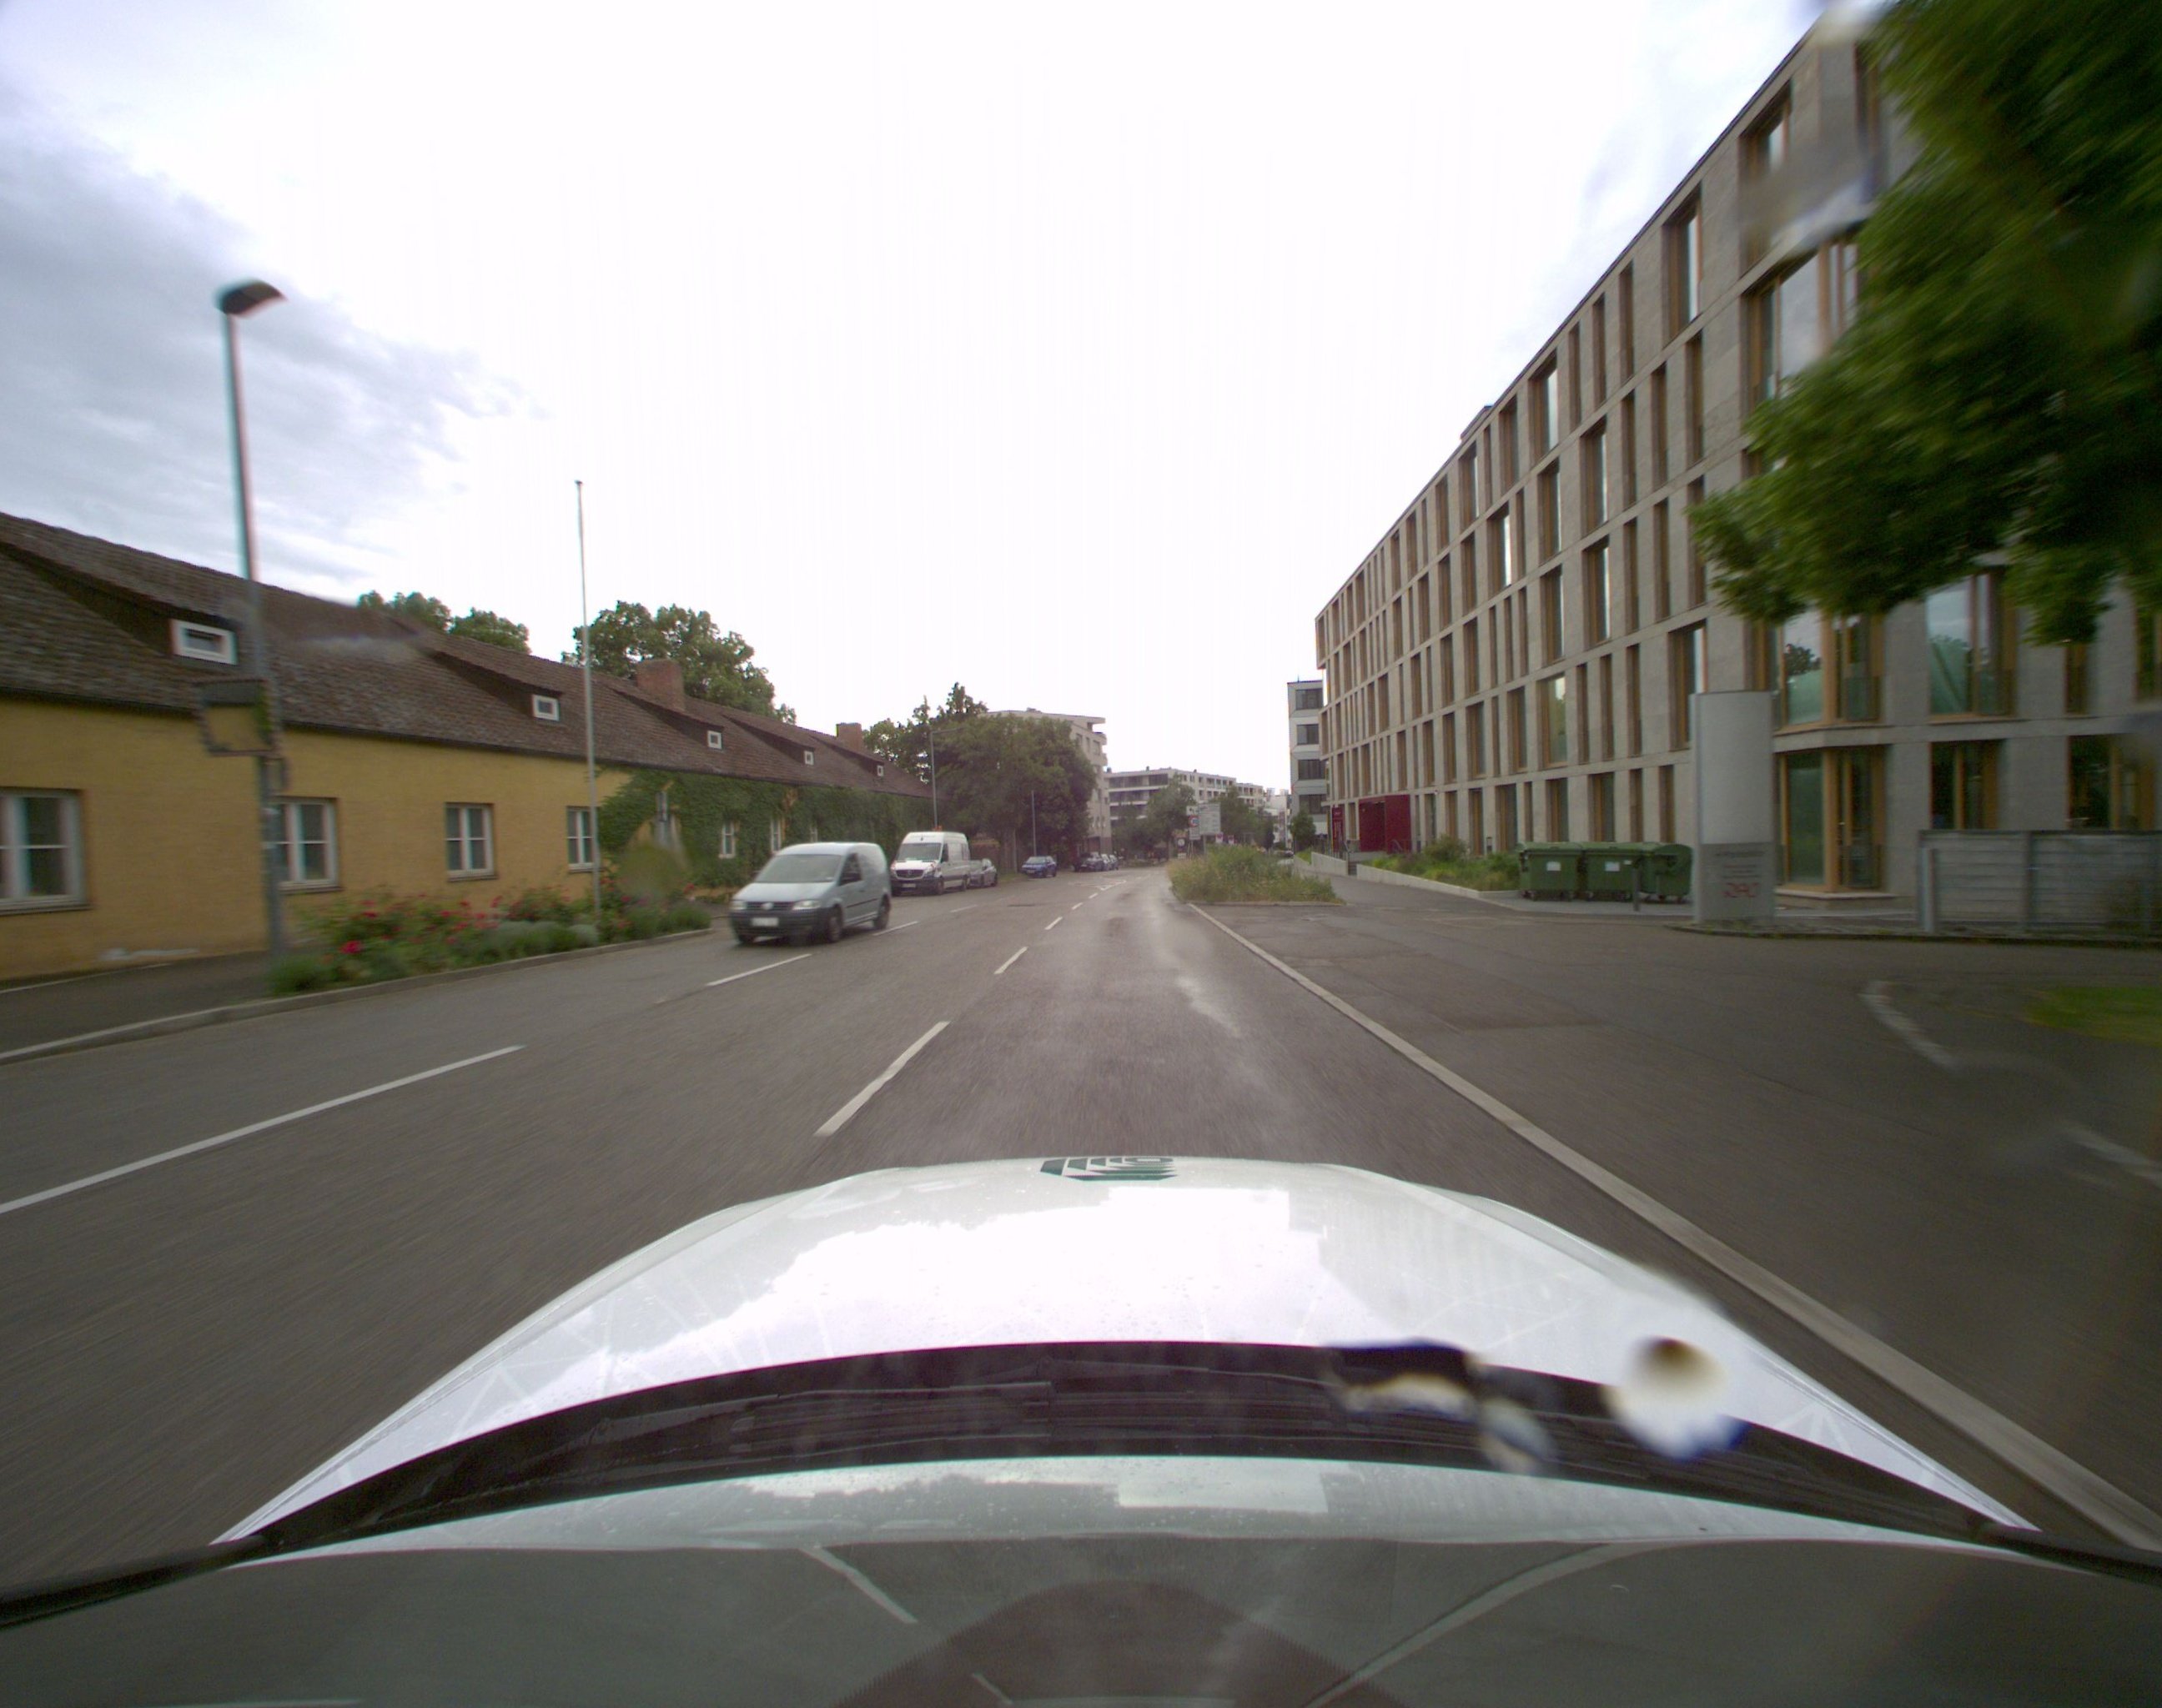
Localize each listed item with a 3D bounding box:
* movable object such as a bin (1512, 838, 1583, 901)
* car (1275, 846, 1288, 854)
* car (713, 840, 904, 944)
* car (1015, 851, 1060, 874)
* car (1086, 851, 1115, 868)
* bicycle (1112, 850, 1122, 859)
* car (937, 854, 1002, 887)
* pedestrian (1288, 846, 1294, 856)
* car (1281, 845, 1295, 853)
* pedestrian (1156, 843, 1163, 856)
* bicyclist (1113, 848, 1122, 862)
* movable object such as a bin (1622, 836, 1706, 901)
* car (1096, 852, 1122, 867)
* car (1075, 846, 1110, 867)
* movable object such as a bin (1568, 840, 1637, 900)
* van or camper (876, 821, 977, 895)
[{"bbox_3d":[11.581,0.371,20.278,1.238,1.458,1.115,2,0,13],"label":"movable object such as a bin"},{"bbox_3d":[38.398,-0.743,155.807,1.531,1.478,3.683,-1,1,27],"label":"car"},{"bbox_3d":[-5.015,0.628,15.746,1.886,1.705,4.514,-1,0,4],"label":"car"},{"bbox_3d":[-2.904,0.564,55.528,1.980,1.470,4.199,-1,0,12],"label":"car"},{"bbox_3d":[1.914,0.532,78.271,1.976,1.593,4.505,-1,0,13],"label":"car"},{"bbox_3d":[3.840,0.055,86.280,0.797,0.979,2.260,-1,0,8],"label":"bicycle"},{"bbox_3d":[-5.420,0.781,40.031,1.982,1.512,4.433,-1,0,8],"label":"car"},{"bbox_3d":[38.169,-0.587,148.070,0.815,1.796,1.214,-2,-1,20],"label":"pedestrian"},{"bbox_3d":[40.856,-1.032,160.526,1.791,1.484,4.522,-1,0,26],"label":"car"},{"bbox_3d":[12.057,-0.692,124.899,1.050,2.013,1.101,-1,0,5],"label":"pedestrian"},{"bbox_3d":[3.843,0.093,86.334,0.796,1.522,1.204,-1,0,7],"label":"bicyclist"},{"bbox_3d":[14.086,0.344,19.722,1.188,1.504,1.392,-1,0,11],"label":"movable object such as a bin"},{"bbox_3d":[2.885,0.570,82.651,1.866,1.463,3.861,-1,0,13],"label":"car"},{"bbox_3d":[1.098,0.189,72.758,1.979,1.786,5.430,-1,0,14],"label":"car"},{"bbox_3d":[12.884,0.379,20.170,1.090,1.399,1.154,2,0,13],"label":"movable object such as a bin"},{"bbox_3d":[-6.225,0.116,33.839,2.328,2.765,6.154,-1,1,7],"label":"van or camper"}]
